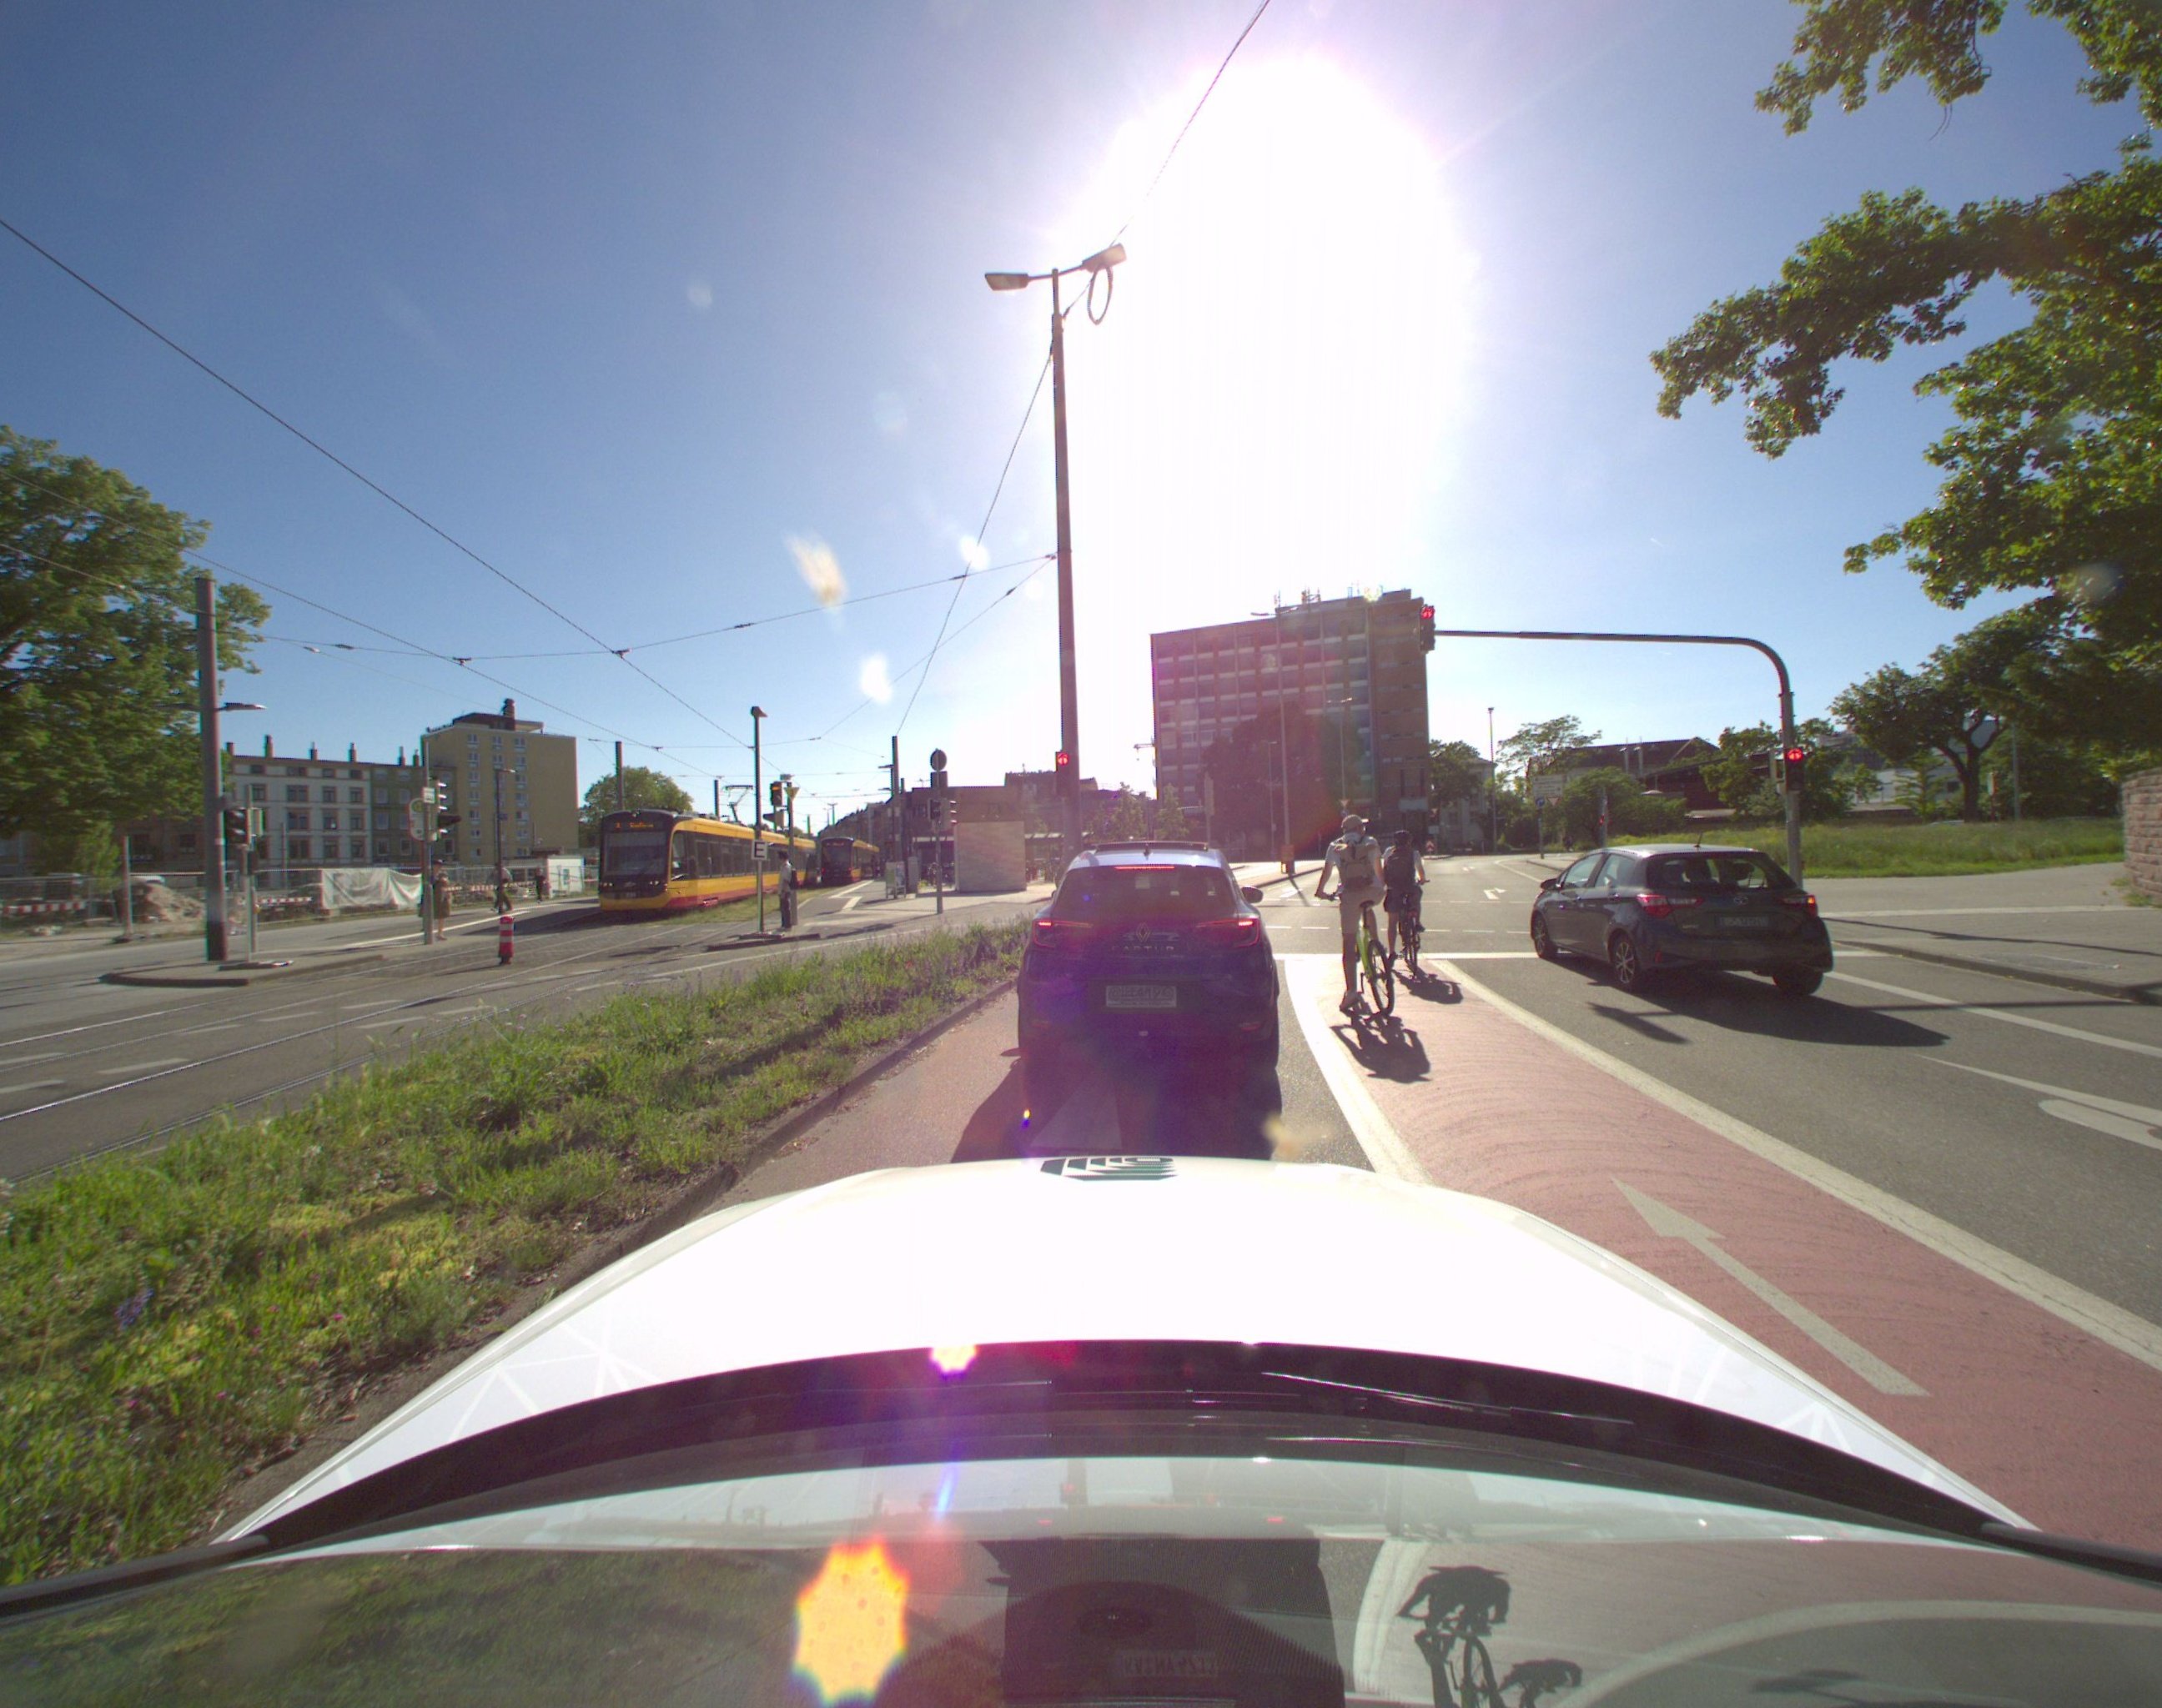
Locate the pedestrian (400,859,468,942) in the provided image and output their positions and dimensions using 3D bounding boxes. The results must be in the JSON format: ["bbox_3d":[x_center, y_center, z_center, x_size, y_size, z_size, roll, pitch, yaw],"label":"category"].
[{"bbox_3d":[-15.071,1.068,18.982,0.892,1.850,0.767,-1,2,16],"label":"pedestrian"}]

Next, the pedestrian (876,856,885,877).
[{"bbox_3d":[-17.876,1.076,72.621,0.631,1.857,0.701,-1,-1,-7],"label":"pedestrian"}]

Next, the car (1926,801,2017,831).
[{"bbox_3d":[68.422,-2.885,62.673,4.305,2.014,2.013,-2,-2,34],"label":"car"}]

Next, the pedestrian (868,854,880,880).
[{"bbox_3d":[-15.524,0.987,61.199,0.848,1.883,0.757,-1,-2,-14],"label":"pedestrian"}]

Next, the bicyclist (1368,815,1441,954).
[{"bbox_3d":[3.994,0.352,10.125,0.716,1.626,1.059,-1,0,16],"label":"bicyclist"}]

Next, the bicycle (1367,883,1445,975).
[{"bbox_3d":[4.034,0.887,10.230,0.717,0.960,1.892,-1,0,16],"label":"bicycle"}]

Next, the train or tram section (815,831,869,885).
[{"bbox_3d":[-17.400,0.317,59.935,2.873,3.508,10.499,-1,0,-12],"label":"train or tram section"}]

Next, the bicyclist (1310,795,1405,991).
[{"bbox_3d":[2.628,0.355,7.834,0.660,1.747,1.008,-2,0,9],"label":"bicyclist"}]

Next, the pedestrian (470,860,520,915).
[{"bbox_3d":[-19.726,1.112,27.428,0.856,1.767,0.977,-2,0,13],"label":"pedestrian"}]

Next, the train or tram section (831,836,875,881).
[{"bbox_3d":[-19.544,0.424,70.304,2.873,3.508,10.499,-1,0,-12],"label":"train or tram section"}]

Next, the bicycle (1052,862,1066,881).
[{"bbox_3d":[-1.176,0.927,43.460,0.580,0.961,2.053,-1,-1,-6],"label":"bicycle"}]

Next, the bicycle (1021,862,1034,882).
[{"bbox_3d":[-2.819,0.946,43.041,0.580,1.058,1.812,-1,-1,-6],"label":"bicycle"}]

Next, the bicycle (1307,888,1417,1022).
[{"bbox_3d":[2.654,0.907,7.883,0.659,1.047,1.895,-2,0,9],"label":"bicycle"}]

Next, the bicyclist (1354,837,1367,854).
[{"bbox_3d":[31.522,-0.914,91.728,1.195,1.897,0.889,-2,-2,27],"label":"bicyclist"}]

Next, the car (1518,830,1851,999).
[{"bbox_3d":[6.571,0.562,9.415,1.744,1.541,3.672,-1,0,13],"label":"car"}]

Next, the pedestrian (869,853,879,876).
[{"bbox_3d":[-16.892,0.864,66.523,0.740,1.918,0.739,-1,-2,-14],"label":"pedestrian"}]

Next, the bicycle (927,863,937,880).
[{"bbox_3d":[-9.676,1.143,52.794,0.565,1.093,2.023,-1,-1,-8],"label":"bicycle"}]

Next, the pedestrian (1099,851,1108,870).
[{"bbox_3d":[2.184,0.607,78.564,0.721,1.857,0.705,-1,-2,10],"label":"pedestrian"}]

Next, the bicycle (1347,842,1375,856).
[{"bbox_3d":[31.524,-0.533,91.735,2.775,1.541,0.889,-2,-2,27],"label":"bicycle"}]

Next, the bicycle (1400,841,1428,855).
[{"bbox_3d":[37.298,-0.643,91.251,2.775,1.541,0.889,-2,-2,27],"label":"bicycle"}]

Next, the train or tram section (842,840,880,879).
[{"bbox_3d":[-21.617,0.501,80.554,2.873,3.508,10.500,-1,0,-12],"label":"train or tram section"}]

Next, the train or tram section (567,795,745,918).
[{"bbox_3d":[-14.588,0.100,29.074,2.820,3.508,10.434,-2,0,-12],"label":"train or tram section"}]

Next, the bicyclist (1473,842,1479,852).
[{"bbox_3d":[54.851,-0.988,113.102,0.612,1.444,0.824,-2,0,32],"label":"bicyclist"}]

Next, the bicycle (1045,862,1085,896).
[{"bbox_3d":[-0.539,0.838,28.294,0.767,1.080,2.044,-3,-1,16],"label":"bicycle"}]

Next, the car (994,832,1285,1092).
[{"bbox_3d":[0.600,0.667,6.944,1.813,1.600,3.667,-1,0,8],"label":"car"}]

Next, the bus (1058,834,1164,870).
[{"bbox_3d":[2.959,-0.134,87.022,12.287,3.396,2.900,-2,-2,42],"label":"bus"}]

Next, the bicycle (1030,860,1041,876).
[{"bbox_3d":[-3.166,1.003,56.571,0.580,1.088,1.865,-1,-1,-9],"label":"bicycle"}]

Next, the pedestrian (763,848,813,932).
[{"bbox_3d":[-6.614,0.786,18.384,1.020,1.832,0.755,0,-2,-22],"label":"pedestrian"}]

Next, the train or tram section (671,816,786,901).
[{"bbox_3d":[-16.664,0.200,39.347,2.818,3.508,10.570,-1,0,-11],"label":"train or tram section"}]

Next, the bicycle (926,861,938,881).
[{"bbox_3d":[-8.508,0.989,46.449,0.565,1.093,2.023,-1,-1,-8],"label":"bicycle"}]

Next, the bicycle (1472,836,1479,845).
[{"bbox_3d":[54.842,-1.890,113.134,0.603,1.093,1.682,-3,0,32],"label":"bicycle"}]

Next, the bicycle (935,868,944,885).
[{"bbox_3d":[-8.372,1.321,48.164,0.422,0.938,1.300,0,-1,-13],"label":"bicycle"}]

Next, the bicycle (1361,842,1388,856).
[{"bbox_3d":[33.390,-0.544,92.744,2.775,1.541,0.889,-2,-2,27],"label":"bicycle"}]

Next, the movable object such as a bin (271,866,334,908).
[{"bbox_3d":[-53.274,2.244,55.696,3.950,2.796,1.844,-2,-2,26],"label":"movable object such as a bin"}]

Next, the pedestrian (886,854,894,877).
[{"bbox_3d":[-15.765,0.975,67.167,0.634,1.857,0.699,0,-2,-17],"label":"pedestrian"}]

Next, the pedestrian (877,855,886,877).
[{"bbox_3d":[-16.752,1.019,68.458,0.673,1.857,0.701,-1,-1,-7],"label":"pedestrian"}]

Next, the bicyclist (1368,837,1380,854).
[{"bbox_3d":[33.386,-0.960,92.747,1.146,1.797,0.889,-2,-2,27],"label":"bicyclist"}]

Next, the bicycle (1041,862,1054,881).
[{"bbox_3d":[-1.790,0.936,43.389,0.580,0.961,2.053,-1,-1,-6],"label":"bicycle"}]

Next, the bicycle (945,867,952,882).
[{"bbox_3d":[-8.632,1.355,53.197,0.421,0.938,1.374,0,-1,-9],"label":"bicycle"}]

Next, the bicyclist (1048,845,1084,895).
[{"bbox_3d":[-0.518,0.550,28.336,0.873,1.644,1.065,-3,-1,16],"label":"bicyclist"}]

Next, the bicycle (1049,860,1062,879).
[{"bbox_3d":[-1.550,0.939,49.118,0.580,1.088,2.053,-1,-1,-6],"label":"bicycle"}]

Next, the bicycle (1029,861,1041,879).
[{"bbox_3d":[-2.758,0.959,49.080,0.580,1.088,2.053,-1,-1,-6],"label":"bicycle"}]

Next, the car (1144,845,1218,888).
[{"bbox_3d":[3.812,0.436,30.497,1.785,1.393,4.114,-2,0,21],"label":"car"}]

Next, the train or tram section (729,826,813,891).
[{"bbox_3d":[-18.735,0.293,49.971,2.818,3.508,11.167,-1,0,-11],"label":"train or tram section"}]

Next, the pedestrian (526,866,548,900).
[{"bbox_3d":[-29.139,1.546,43.652,0.668,1.767,0.796,-2,0,-13],"label":"pedestrian"}]
